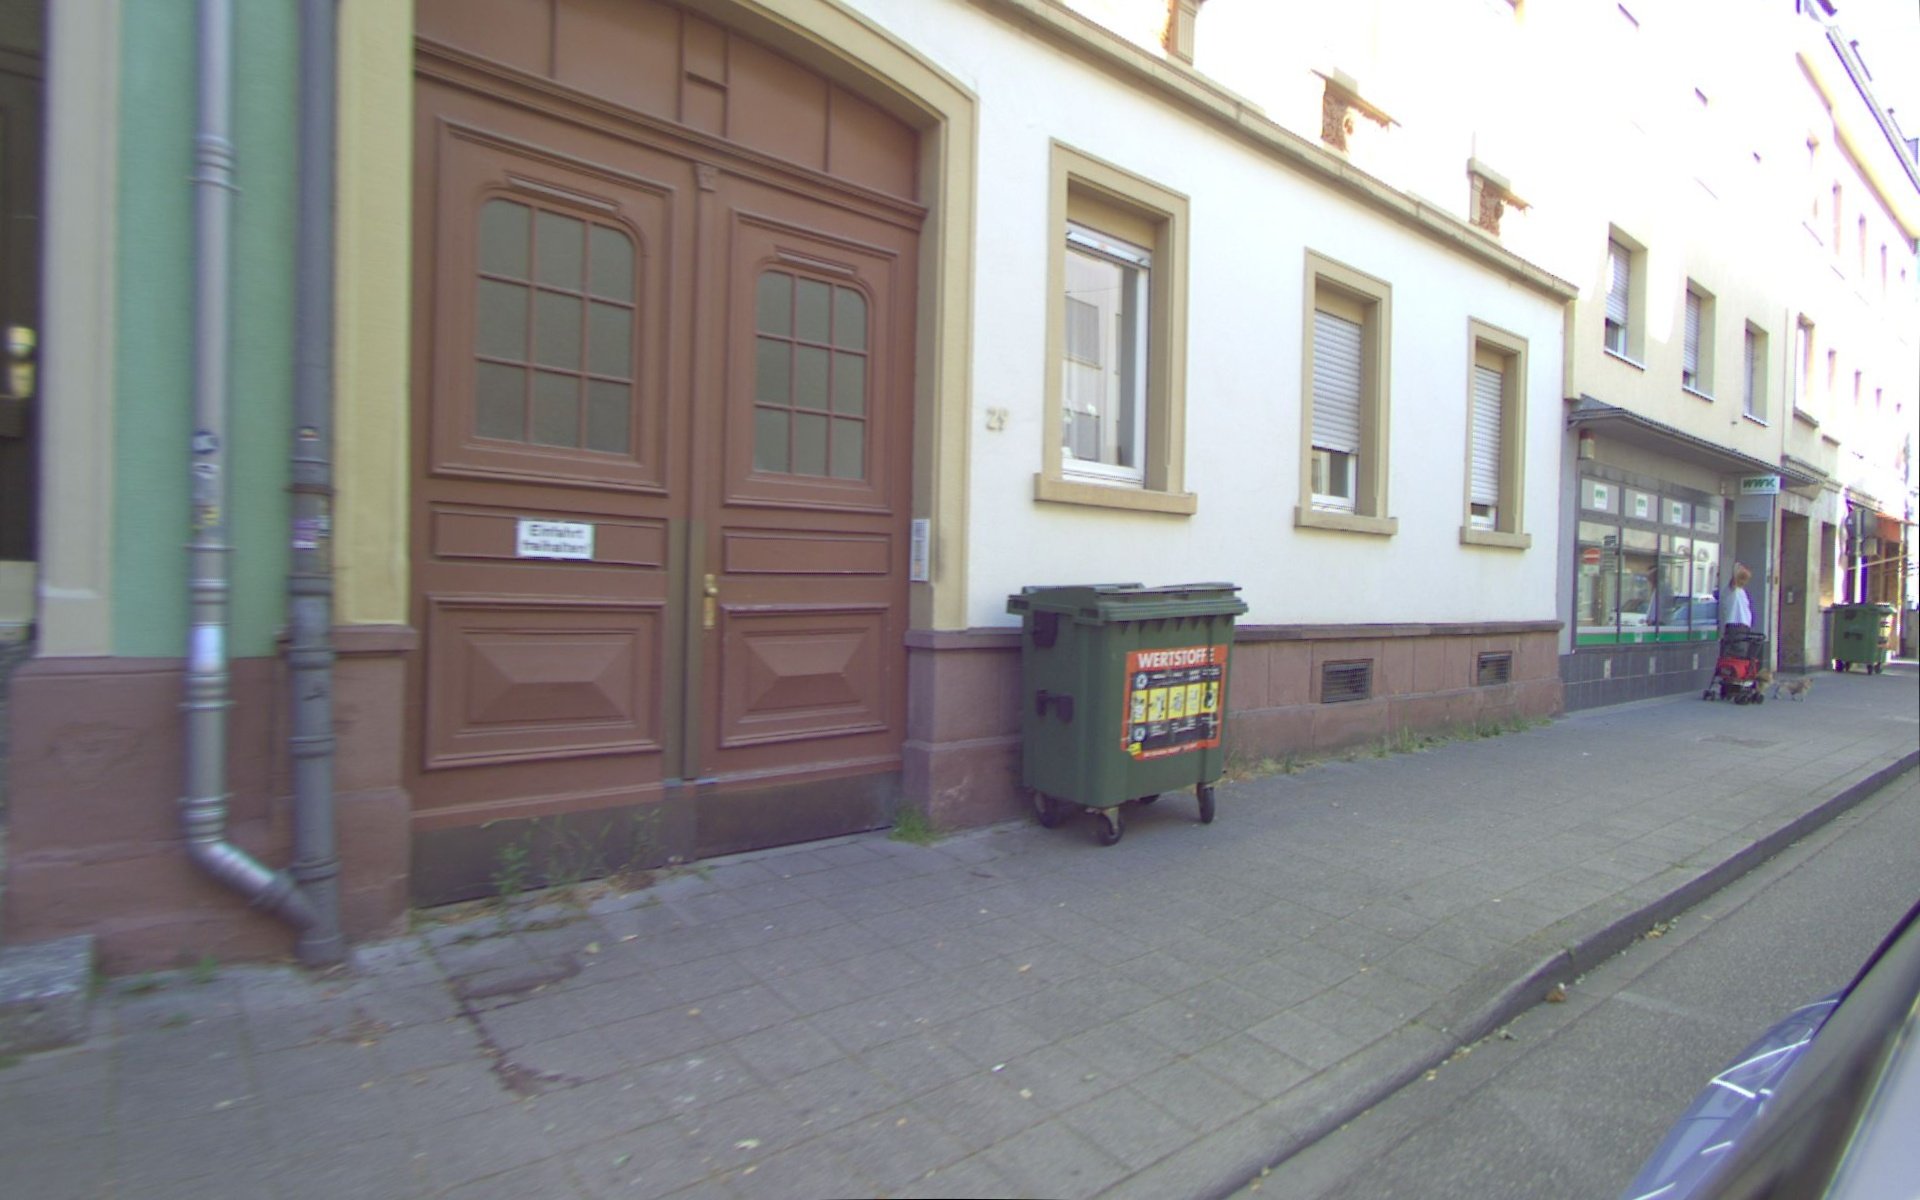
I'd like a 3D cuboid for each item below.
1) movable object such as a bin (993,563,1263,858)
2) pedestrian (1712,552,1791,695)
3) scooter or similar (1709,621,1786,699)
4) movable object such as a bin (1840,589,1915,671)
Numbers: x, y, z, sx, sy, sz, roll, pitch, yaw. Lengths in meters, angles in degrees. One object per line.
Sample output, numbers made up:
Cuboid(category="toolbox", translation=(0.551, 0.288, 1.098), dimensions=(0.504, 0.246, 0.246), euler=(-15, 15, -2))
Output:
Cuboid(category="movable object such as a bin", translation=(0.945, 0.518, 5.671), dimensions=(1.274, 1.406, 0.839), euler=(-2, 5, -40))
Cuboid(category="pedestrian", translation=(10.881, 0.300, 13.935), dimensions=(0.645, 1.882, 0.741), euler=(4, 2, 29))
Cuboid(category="scooter or similar", translation=(10.260, 0.772, 13.186), dimensions=(0.851, 0.956, 0.492), euler=(2, 1, -32))
Cuboid(category="movable object such as a bin", translation=(17.484, 0.547, 19.285), dimensions=(1.347, 1.454, 0.749), euler=(0, 3, -37))
